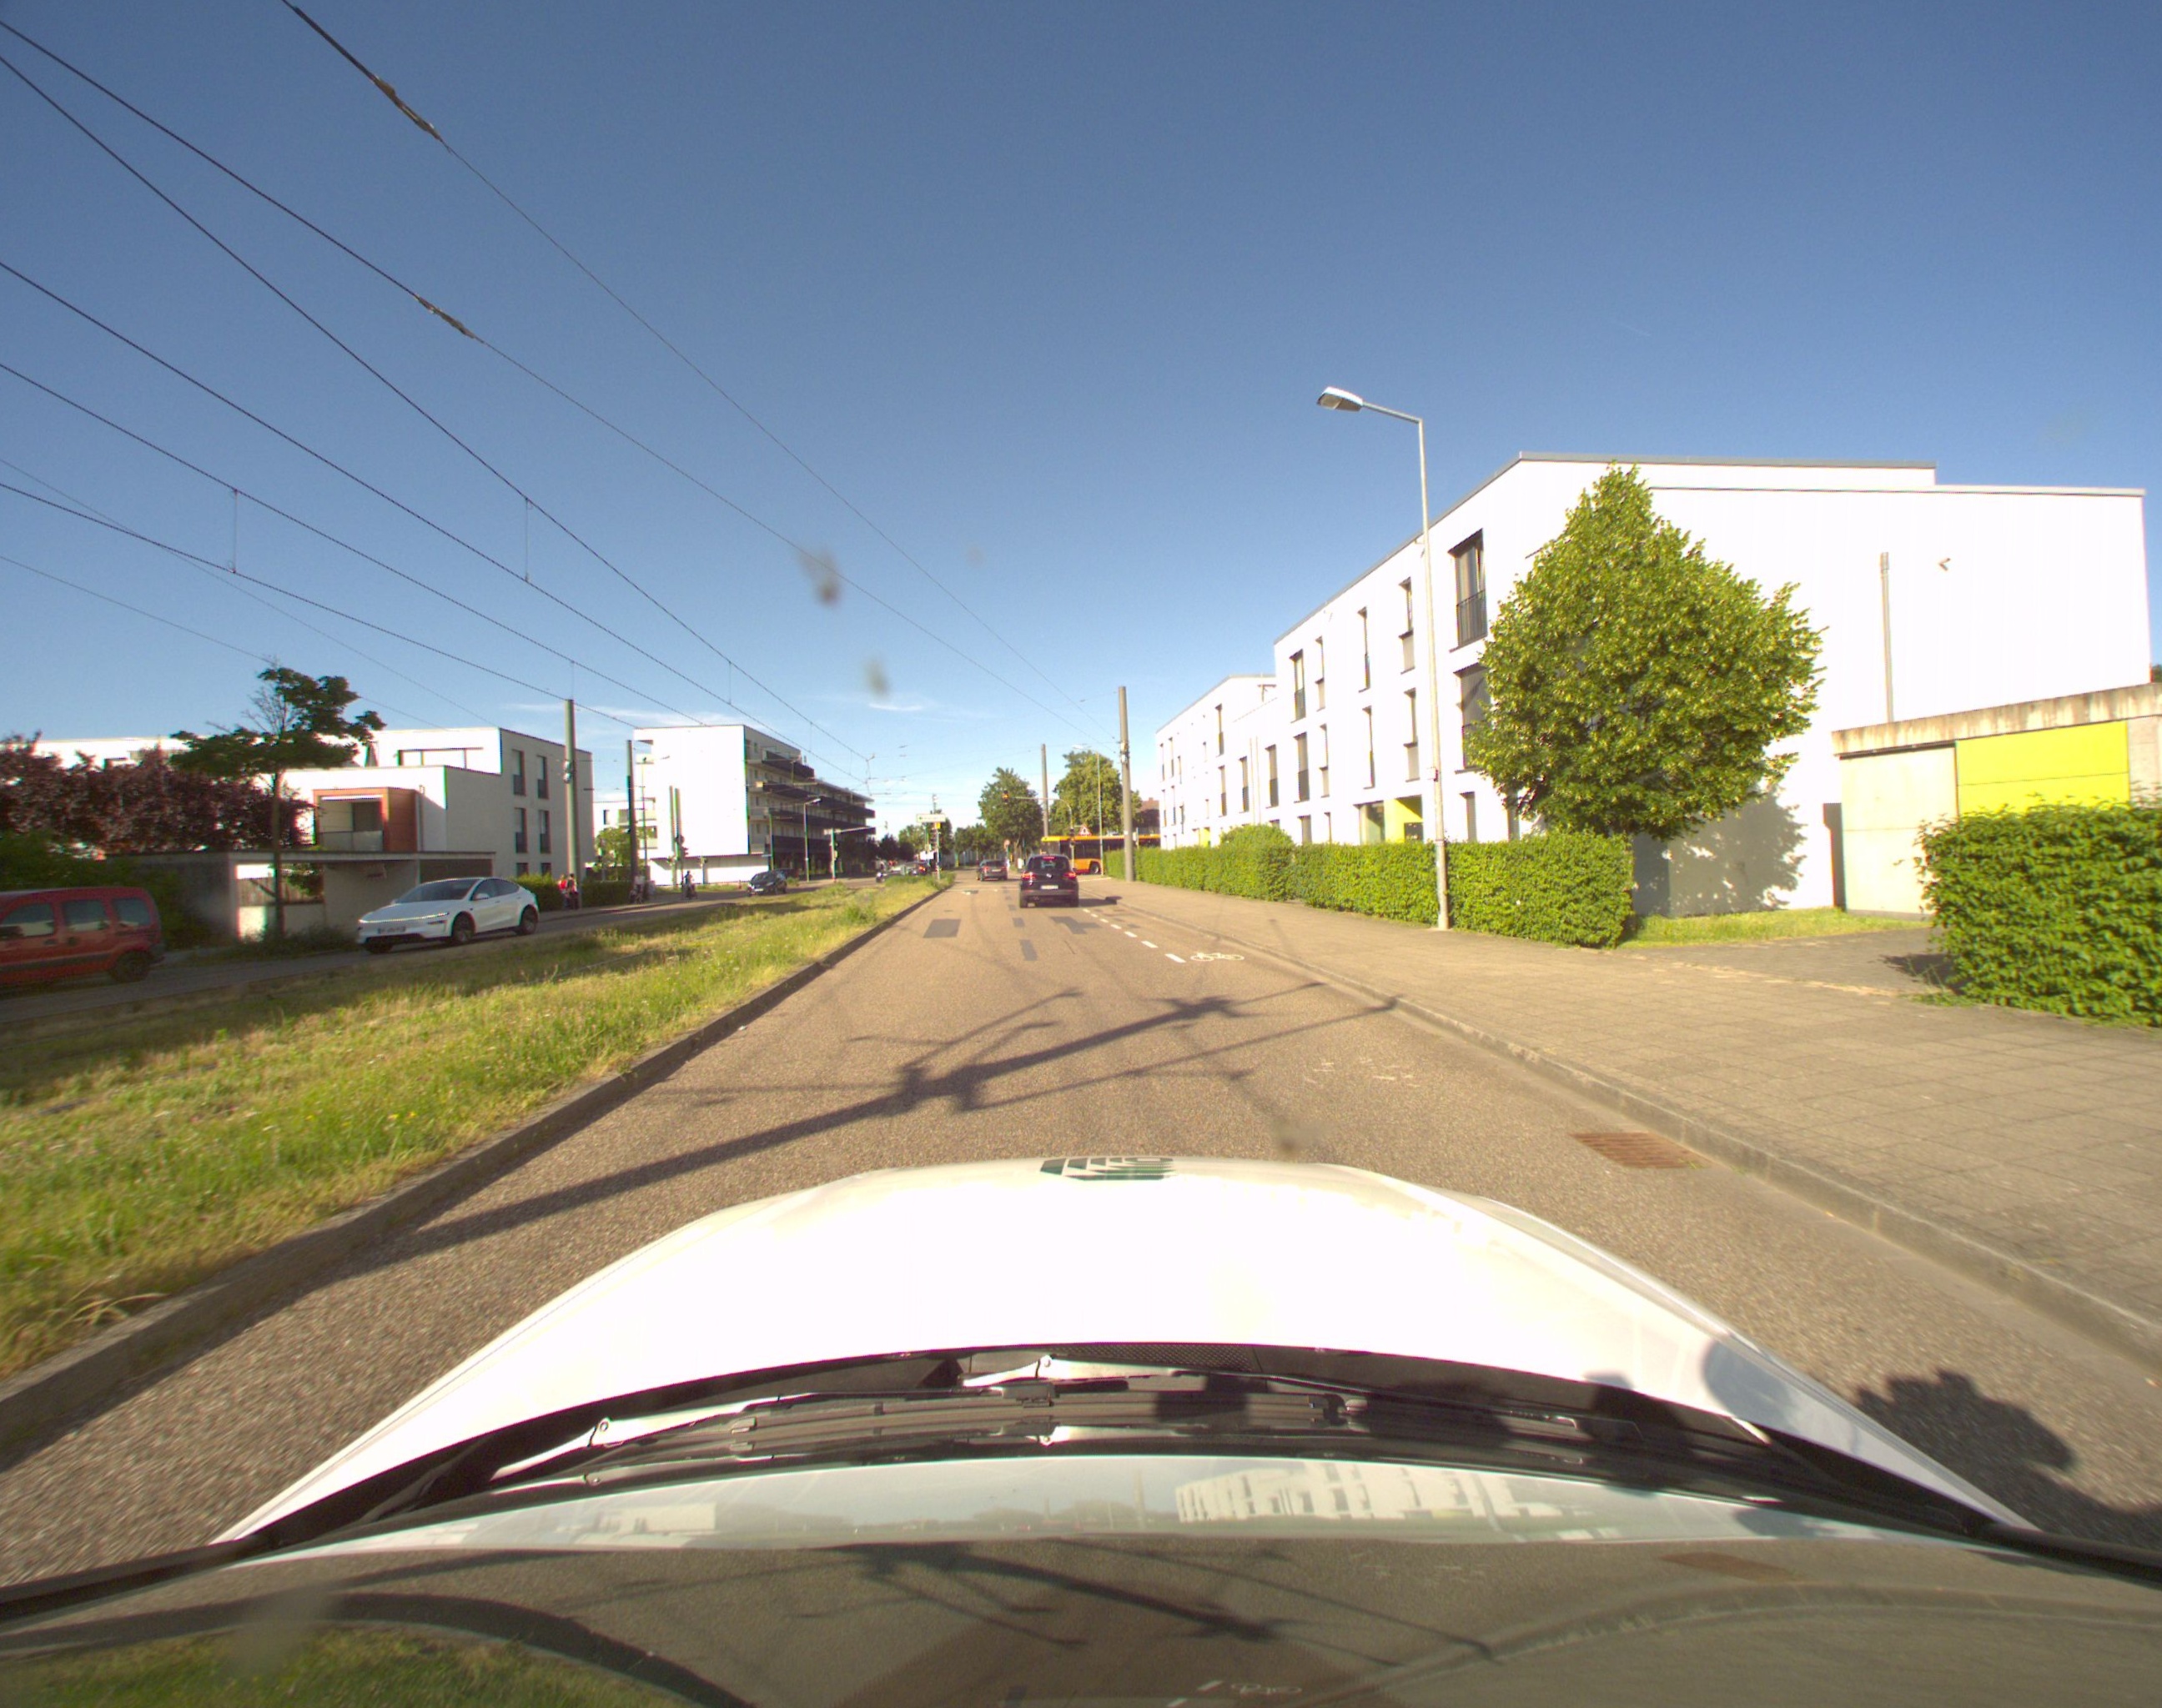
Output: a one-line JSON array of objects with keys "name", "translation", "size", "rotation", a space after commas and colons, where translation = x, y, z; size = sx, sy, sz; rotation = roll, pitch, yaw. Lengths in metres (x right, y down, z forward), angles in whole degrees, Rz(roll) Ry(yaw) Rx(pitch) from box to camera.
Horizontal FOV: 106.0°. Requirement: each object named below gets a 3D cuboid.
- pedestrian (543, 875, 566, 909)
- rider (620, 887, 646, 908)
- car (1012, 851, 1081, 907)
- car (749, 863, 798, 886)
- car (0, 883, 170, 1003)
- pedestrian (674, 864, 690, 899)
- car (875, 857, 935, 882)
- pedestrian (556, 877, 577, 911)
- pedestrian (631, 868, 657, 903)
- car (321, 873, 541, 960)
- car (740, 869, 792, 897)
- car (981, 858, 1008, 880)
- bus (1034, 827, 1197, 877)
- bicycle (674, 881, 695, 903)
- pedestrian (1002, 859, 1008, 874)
[{"name": "pedestrian", "translation": [-23.491, 1.677, 36.339], "size": [0.556, 1.464, 0.741], "rotation": [-1, 0, -4]}, {"name": "rider", "translation": [-22.987, 2.233, 41.785], "size": [0.775, 1.003, 1.044], "rotation": [-1, 0, -1]}, {"name": "car", "translation": [-1.200, 0.749, 26.342], "size": [1.904, 1.643, 3.990], "rotation": [-1, 0, -7]}, {"name": "car", "translation": [-29.634, 1.979, 78.558], "size": [4.017, 2.013, 1.979], "rotation": [-3, 0, -34]}, {"name": "car", "translation": [-17.992, 1.454, 13.392], "size": [1.878, 1.796, 3.830], "rotation": [-1, 0, -5]}, {"name": "pedestrian", "translation": [-23.572, 1.632, 48.145], "size": [0.763, 2.013, 0.665], "rotation": [-1, 0, -20]}, {"name": "car", "translation": [-12.378, 1.096, 57.416], "size": [3.707, 1.430, 1.713], "rotation": [-4, 0, 7]}, {"name": "pedestrian", "translation": [-22.930, 1.770, 36.317], "size": [0.556, 1.464, 0.611], "rotation": [-1, 0, -4]}, {"name": "pedestrian", "translation": [-22.990, 1.648, 42.848], "size": [0.813, 1.748, 0.909], "rotation": [-1, 0, -1]}, {"name": "car", "translation": [-15.492, 1.387, 19.823], "size": [1.993, 1.596, 4.633], "rotation": [-4, 0, -8]}, {"name": "car", "translation": [-19.178, 1.726, 49.765], "size": [1.785, 1.418, 3.993], "rotation": [-4, 0, -5]}, {"name": "car", "translation": [-6.002, 1.000, 56.126], "size": [1.749, 1.387, 3.990], "rotation": [-1, 0, -7]}, {"name": "bus", "translation": [3.121, -0.210, 65.375], "size": [14.754, 3.671, 2.815], "rotation": [-1, 0, -39]}, {"name": "bicycle", "translation": [-23.785, 2.249, 48.870], "size": [0.796, 1.221, 2.685], "rotation": [-1, 0, -19]}, {"name": "pedestrian", "translation": [-8.349, 1.354, 89.734], "size": [0.601, 1.640, 0.528], "rotation": [-1, 0, -1]}]
